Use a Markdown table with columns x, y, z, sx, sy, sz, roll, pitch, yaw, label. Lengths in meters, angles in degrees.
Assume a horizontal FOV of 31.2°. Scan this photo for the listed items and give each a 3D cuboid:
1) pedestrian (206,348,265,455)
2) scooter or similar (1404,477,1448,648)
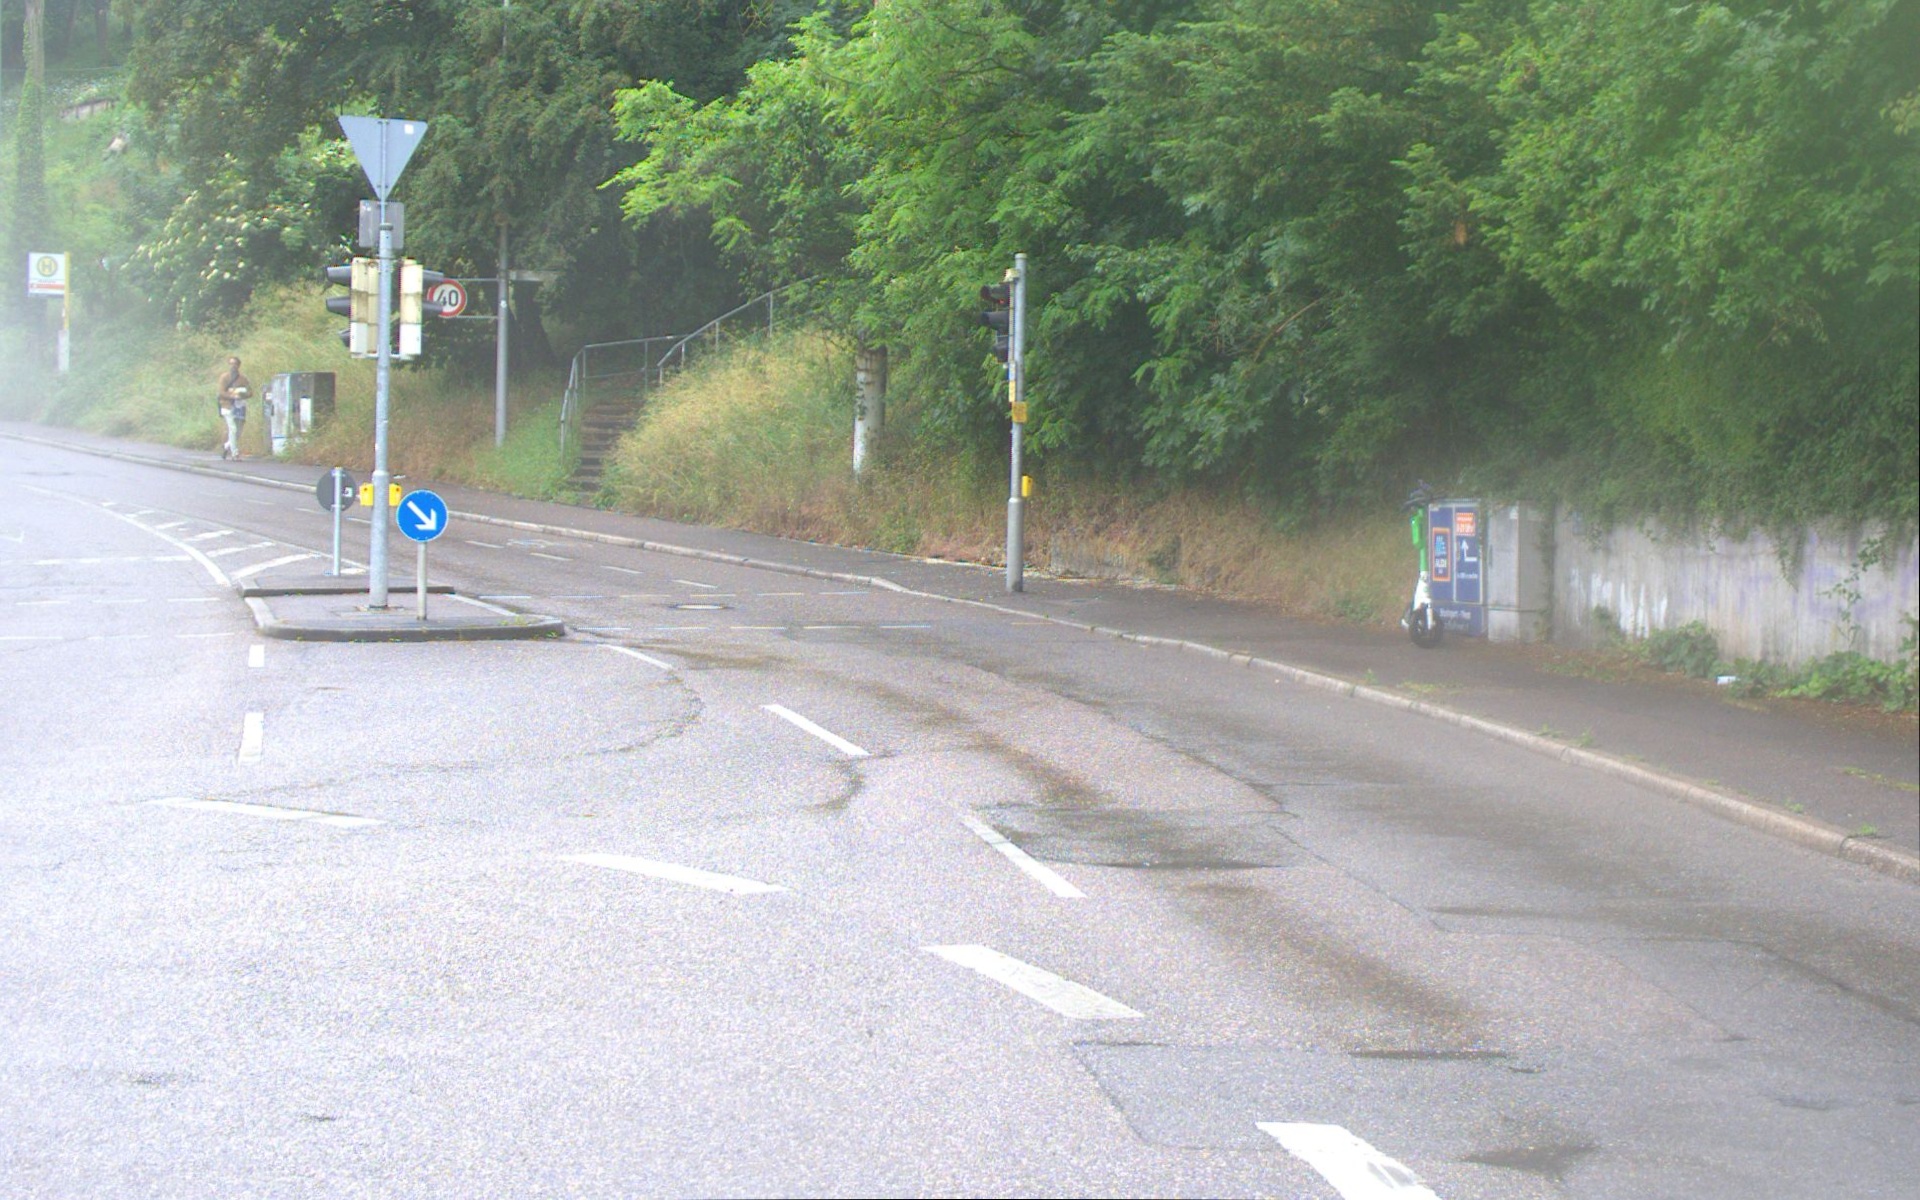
| x | y | z | sx | sy | sz | roll | pitch | yaw | label |
| --- | --- | --- | --- | --- | --- | --- | --- | --- | --- |
| -12.172 | -3.322 | 57.735 | 0.880 | 1.730 | 0.866 | 0 | 0 | -17 | pedestrian |
| 3.586 | -0.297 | 26.476 | 0.322 | 1.275 | 0.751 | 0 | 4 | 7 | scooter or similar |
